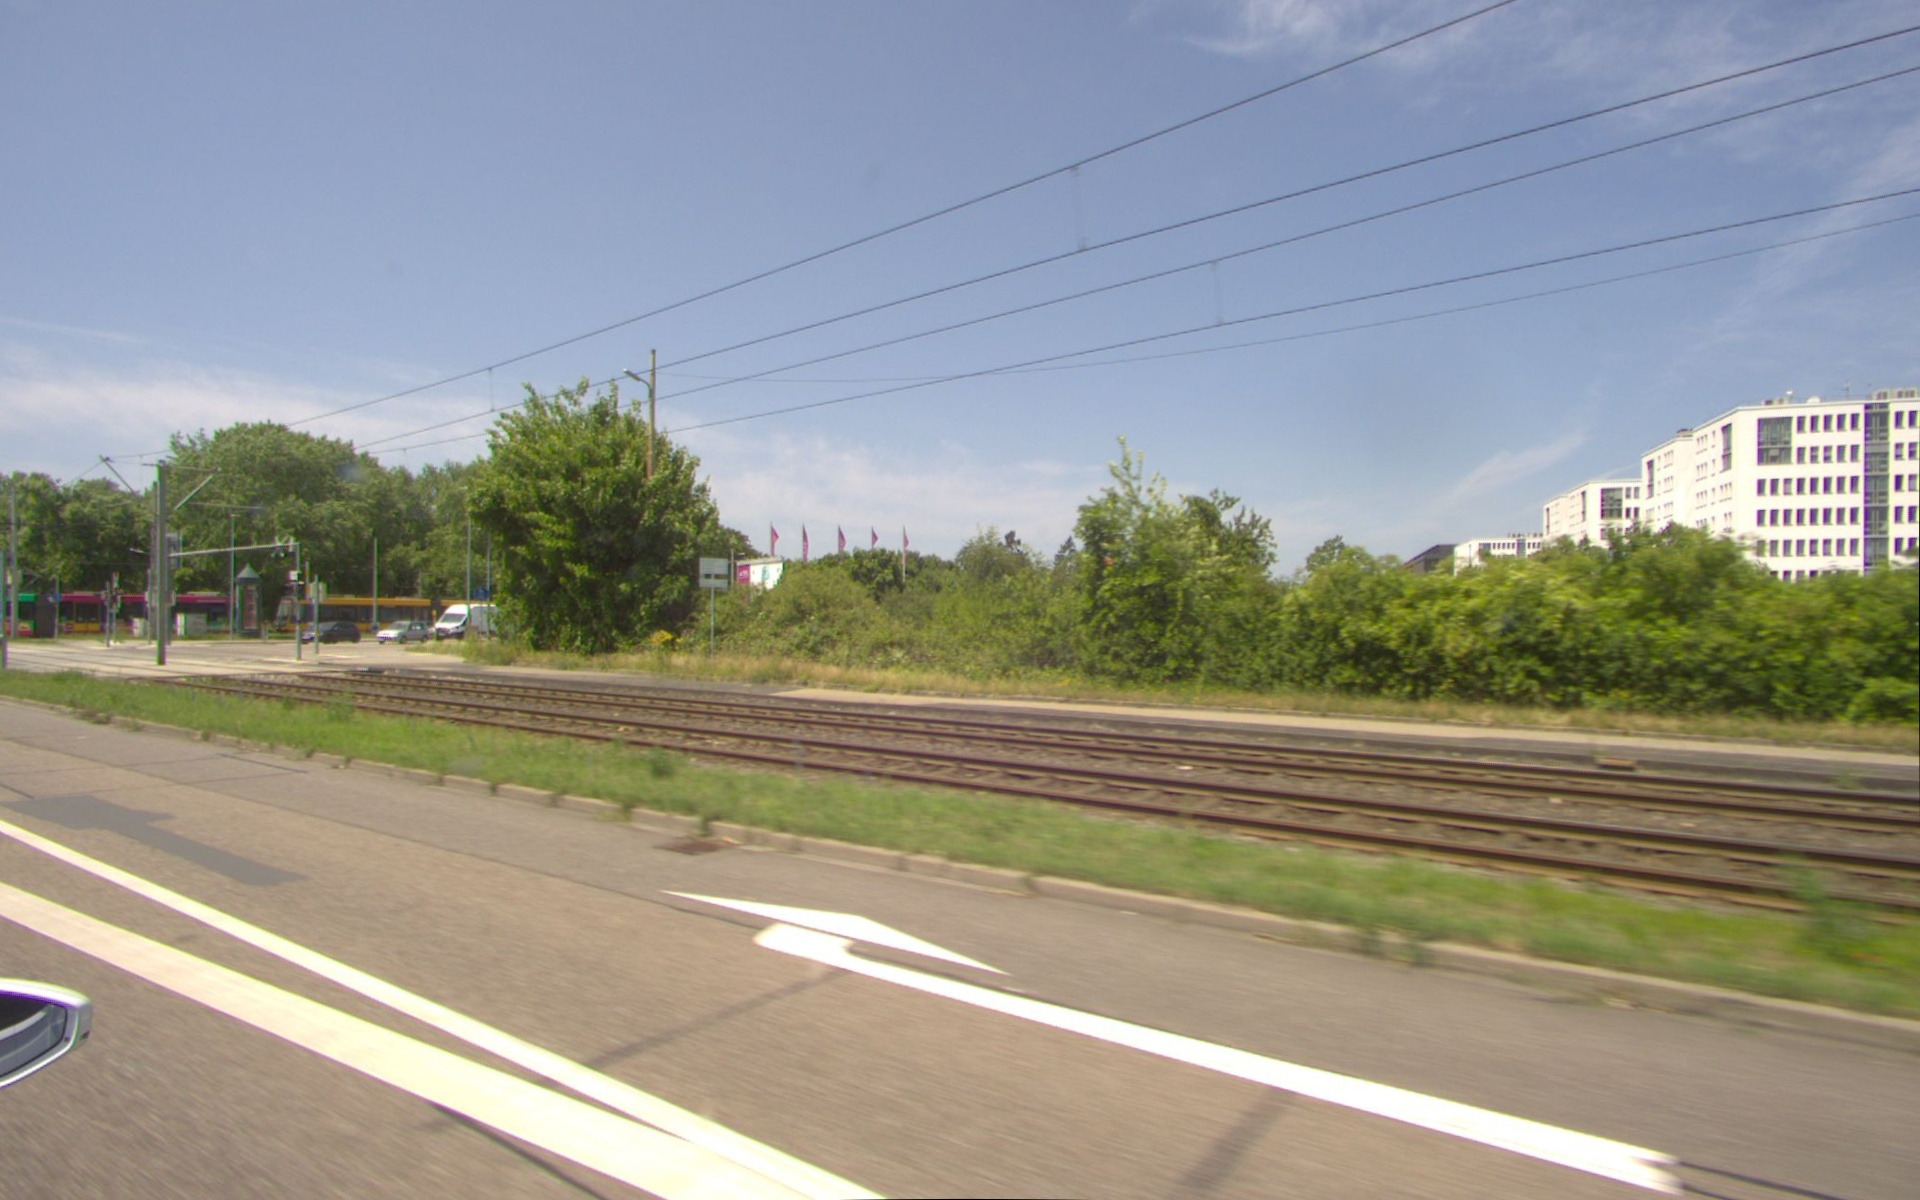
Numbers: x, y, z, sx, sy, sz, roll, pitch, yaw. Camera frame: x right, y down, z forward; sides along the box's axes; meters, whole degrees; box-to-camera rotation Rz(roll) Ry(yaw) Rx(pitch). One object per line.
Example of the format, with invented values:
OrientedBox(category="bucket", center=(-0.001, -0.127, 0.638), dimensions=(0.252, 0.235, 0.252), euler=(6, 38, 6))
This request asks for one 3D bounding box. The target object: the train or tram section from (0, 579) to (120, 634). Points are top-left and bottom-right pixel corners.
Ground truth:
OrientedBox(category="train or tram section", center=(-71.198, 0.559, 74.958), dimensions=(13.198, 3.857, 2.926), euler=(-1, -3, -7))

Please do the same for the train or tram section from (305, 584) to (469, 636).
OrientedBox(category="train or tram section", center=(-51.052, 1.080, 89.999), dimensions=(2.875, 3.966, 13.937), euler=(-3, -4, 23))

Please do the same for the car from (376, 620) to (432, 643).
OrientedBox(category="car", center=(-37.404, 2.092, 67.487), dimensions=(1.608, 1.482, 3.807), euler=(0, -1, 1))

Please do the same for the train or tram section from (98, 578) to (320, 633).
OrientedBox(category="train or tram section", center=(-59.161, 0.601, 79.605), dimensions=(13.868, 3.966, 2.906), euler=(1, -4, -36))

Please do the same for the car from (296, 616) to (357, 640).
OrientedBox(category="car", center=(-40.987, 1.811, 64.882), dimensions=(1.608, 1.482, 3.509), euler=(0, -1, 4))

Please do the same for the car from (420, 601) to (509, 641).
OrientedBox(category="car", center=(-37.052, 1.614, 75.178), dimensions=(2.664, 2.838, 7.286), euler=(0, -1, 4))
